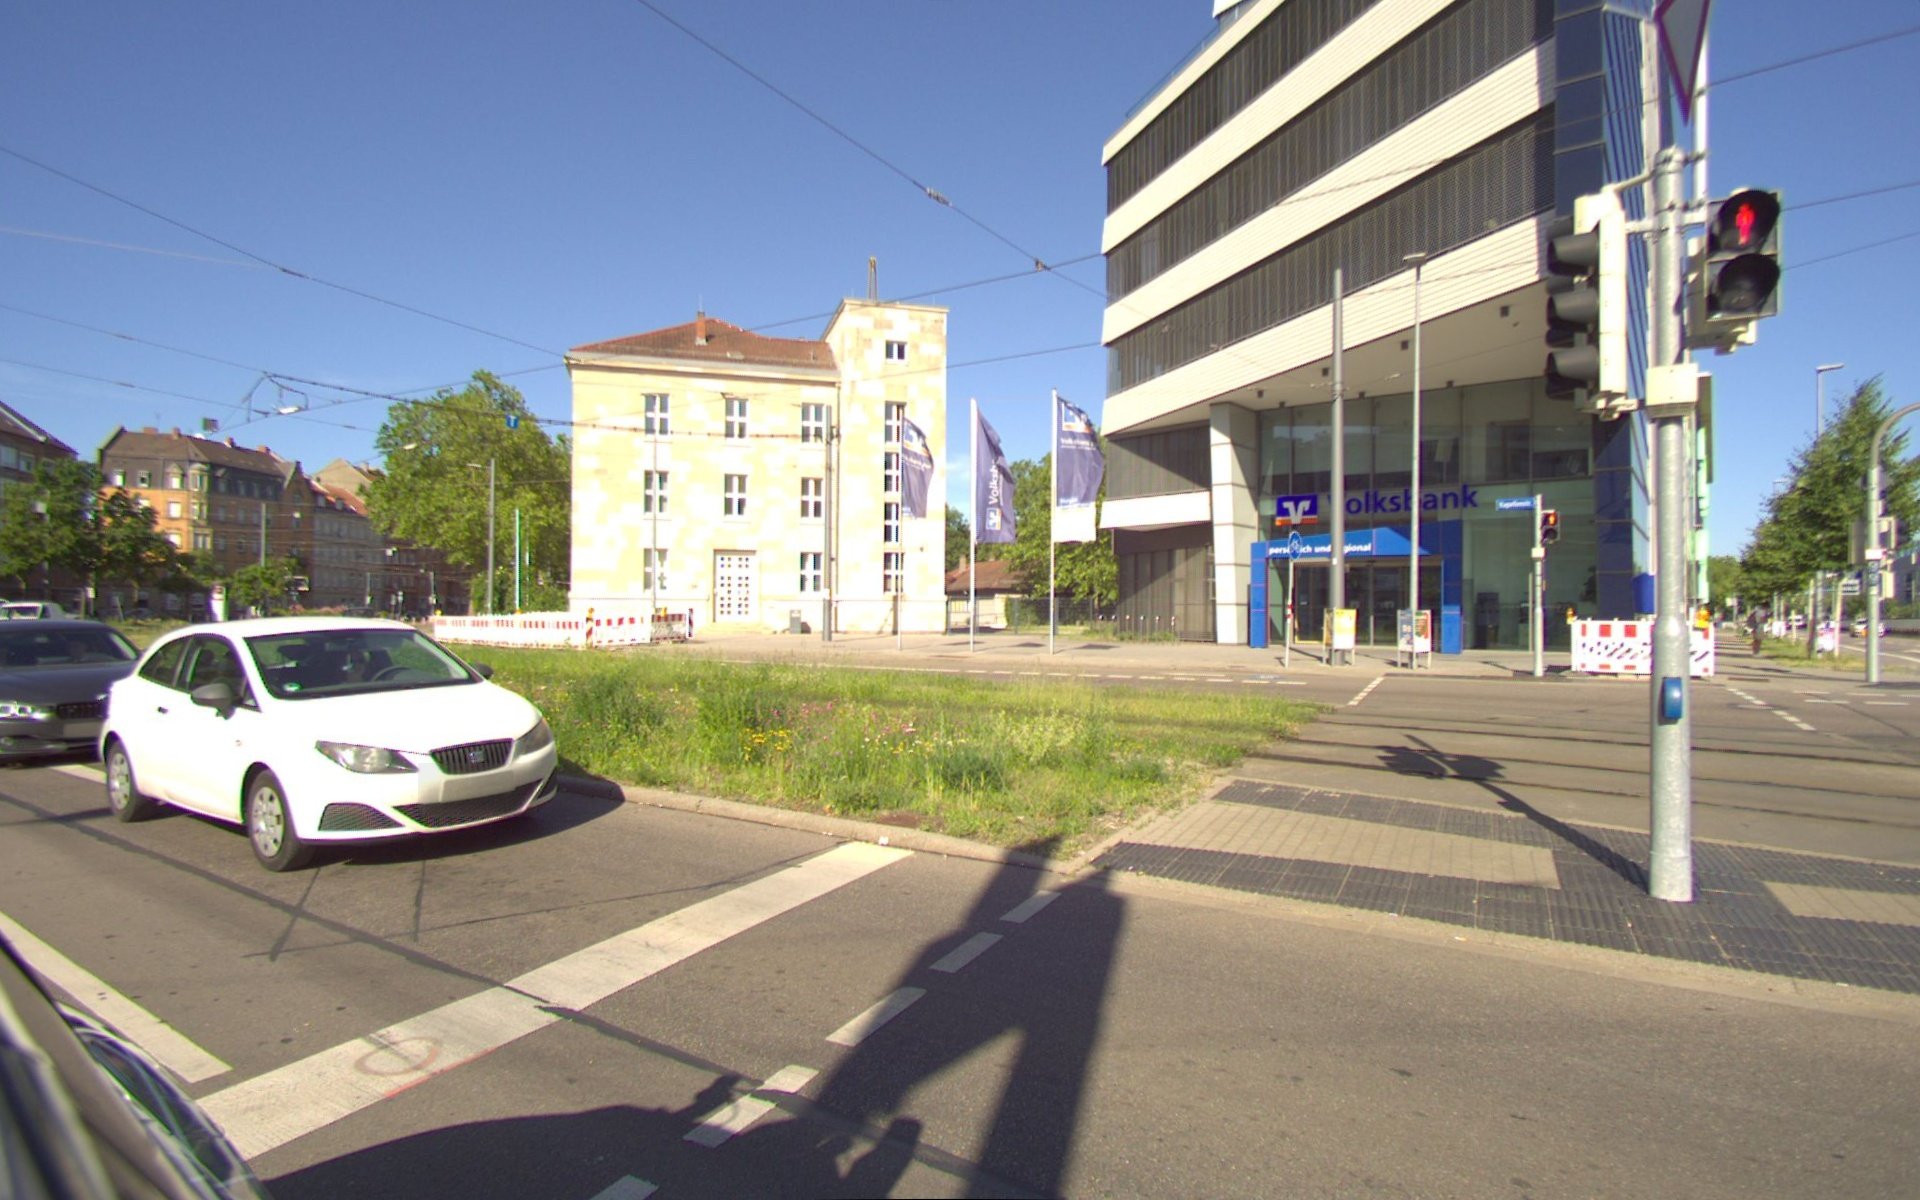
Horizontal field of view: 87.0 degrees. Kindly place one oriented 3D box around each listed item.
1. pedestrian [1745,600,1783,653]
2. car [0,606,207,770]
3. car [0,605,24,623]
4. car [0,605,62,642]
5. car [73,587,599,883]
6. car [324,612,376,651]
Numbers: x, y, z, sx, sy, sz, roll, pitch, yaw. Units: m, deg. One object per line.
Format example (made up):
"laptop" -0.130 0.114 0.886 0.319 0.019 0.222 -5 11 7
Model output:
"pedestrian" 24.247 0.790 30.530 0.857 1.567 0.605 -1 -1 41
"car" -9.977 0.802 10.874 4.475 1.441 1.819 -1 0 37
"car" -66.468 0.942 68.493 1.997 1.219 4.346 -1 -1 37
"car" -41.569 1.007 44.823 1.842 1.568 4.012 1 -1 -29
"car" -4.341 0.683 6.866 3.827 1.441 1.650 -1 2 35
"car" -28.790 1.435 47.695 1.741 1.763 4.009 1 -1 -36
